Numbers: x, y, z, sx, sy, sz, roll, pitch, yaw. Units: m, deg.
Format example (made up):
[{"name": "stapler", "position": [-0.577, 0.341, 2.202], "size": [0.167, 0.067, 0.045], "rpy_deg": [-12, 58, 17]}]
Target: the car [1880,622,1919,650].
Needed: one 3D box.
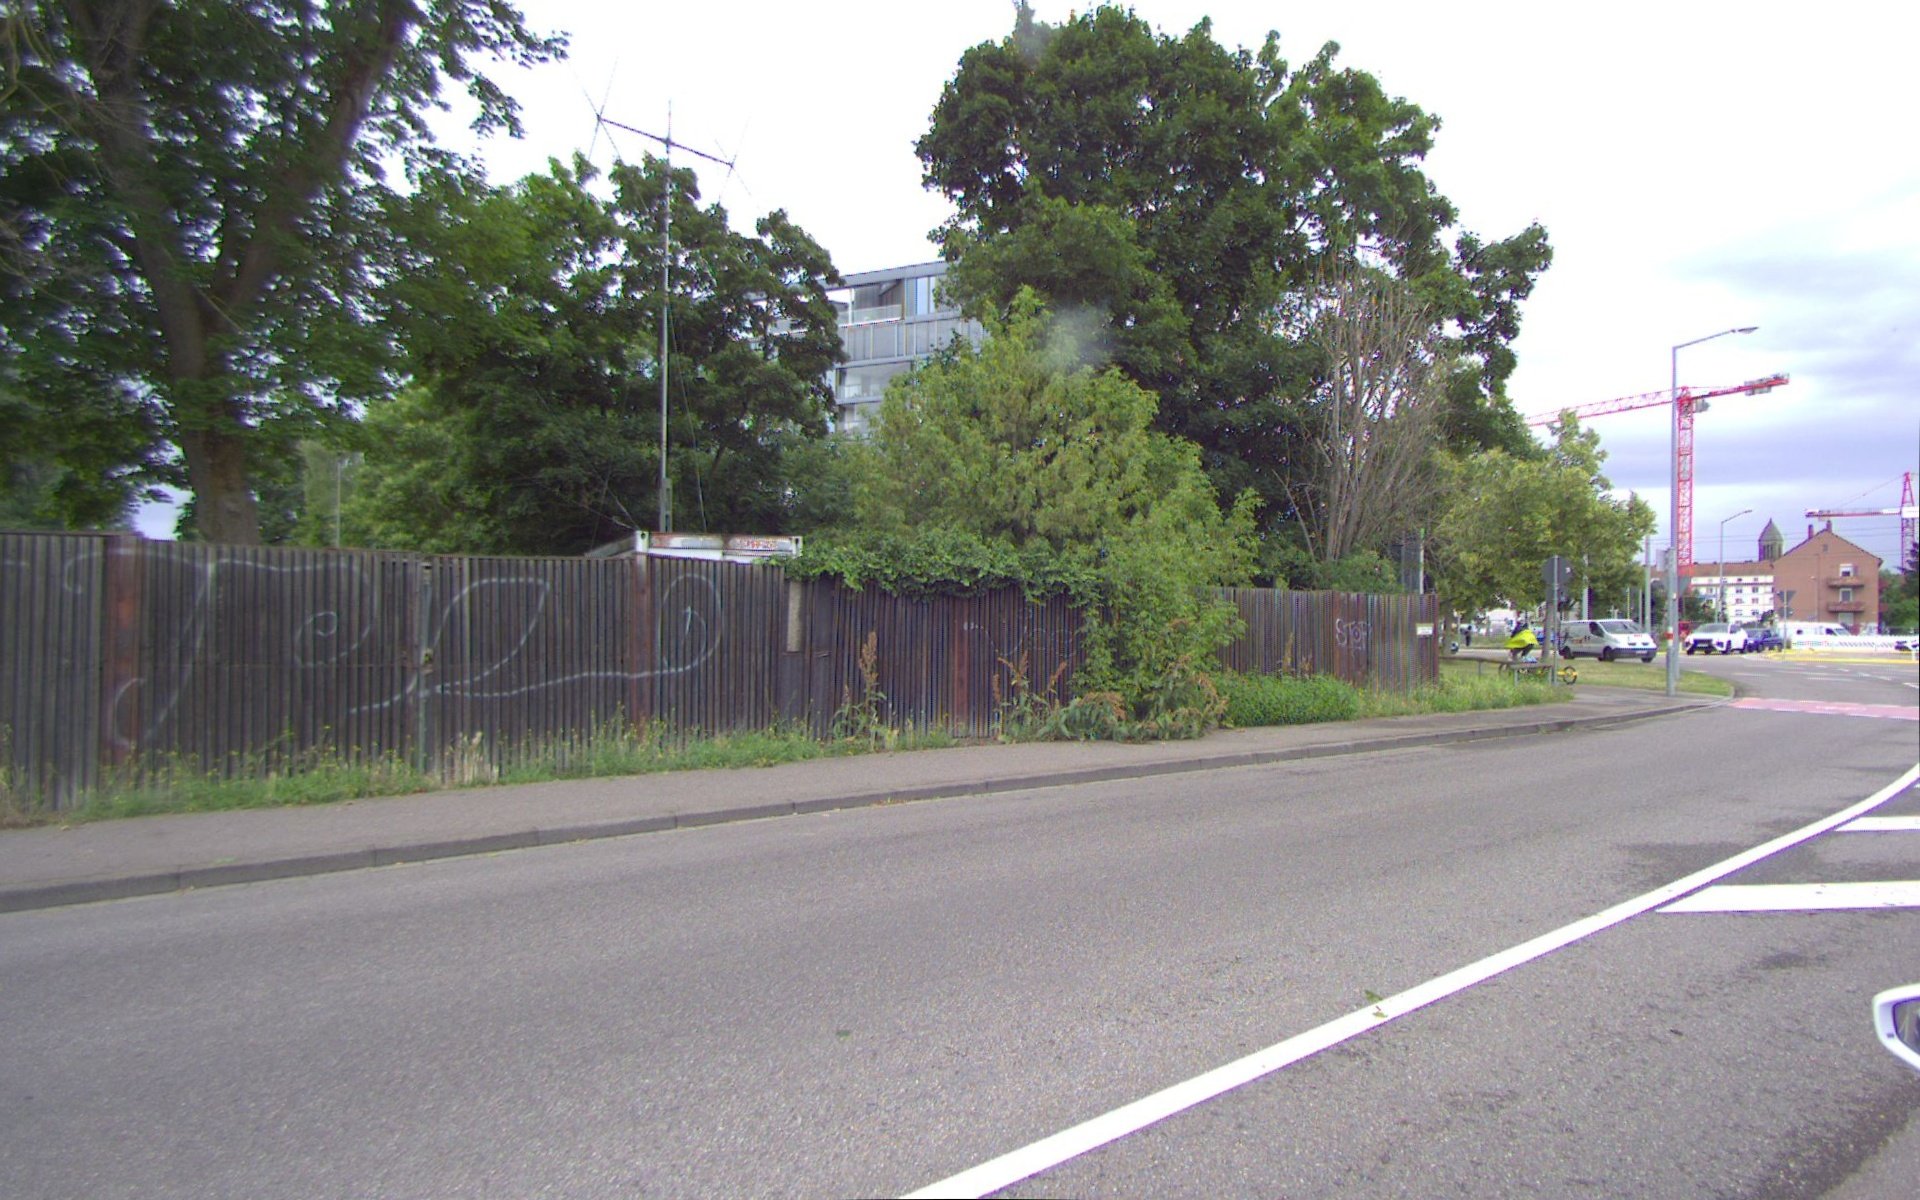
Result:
[{"name": "car", "position": [59.028, 2.161, 60.790], "size": [4.580, 1.656, 2.001], "rpy_deg": [0, -1, 9]}]

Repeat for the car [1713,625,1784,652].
[{"name": "car", "position": [45.776, 2.233, 58.301], "size": [3.953, 1.509, 1.922], "rpy_deg": [1, -1, -30]}]

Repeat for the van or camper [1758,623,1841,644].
[{"name": "van or camper", "position": [82.637, 3.278, 98.974], "size": [1.969, 2.040, 6.171], "rpy_deg": [1, -1, -19]}]

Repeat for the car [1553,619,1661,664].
[{"name": "car", "position": [29.740, 1.873, 46.367], "size": [2.057, 1.925, 4.851], "rpy_deg": [0, -1, 3]}]

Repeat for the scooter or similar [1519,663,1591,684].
[{"name": "scooter or similar", "position": [16.792, 2.078, 28.390], "size": [0.908, 0.511, 1.609], "rpy_deg": [1, -1, -11]}]

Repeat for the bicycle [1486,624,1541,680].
[{"name": "bicycle", "position": [16.481, 1.524, 29.953], "size": [0.595, 1.633, 1.478], "rpy_deg": [1, -1, -13]}]

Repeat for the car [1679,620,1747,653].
[{"name": "car", "position": [40.586, 1.922, 54.128], "size": [4.152, 1.706, 1.916], "rpy_deg": [1, -1, -38]}]

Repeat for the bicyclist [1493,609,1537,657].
[{"name": "bicyclist", "position": [16.498, 0.972, 29.865], "size": [0.604, 1.420, 1.062], "rpy_deg": [1, -1, -13]}]
